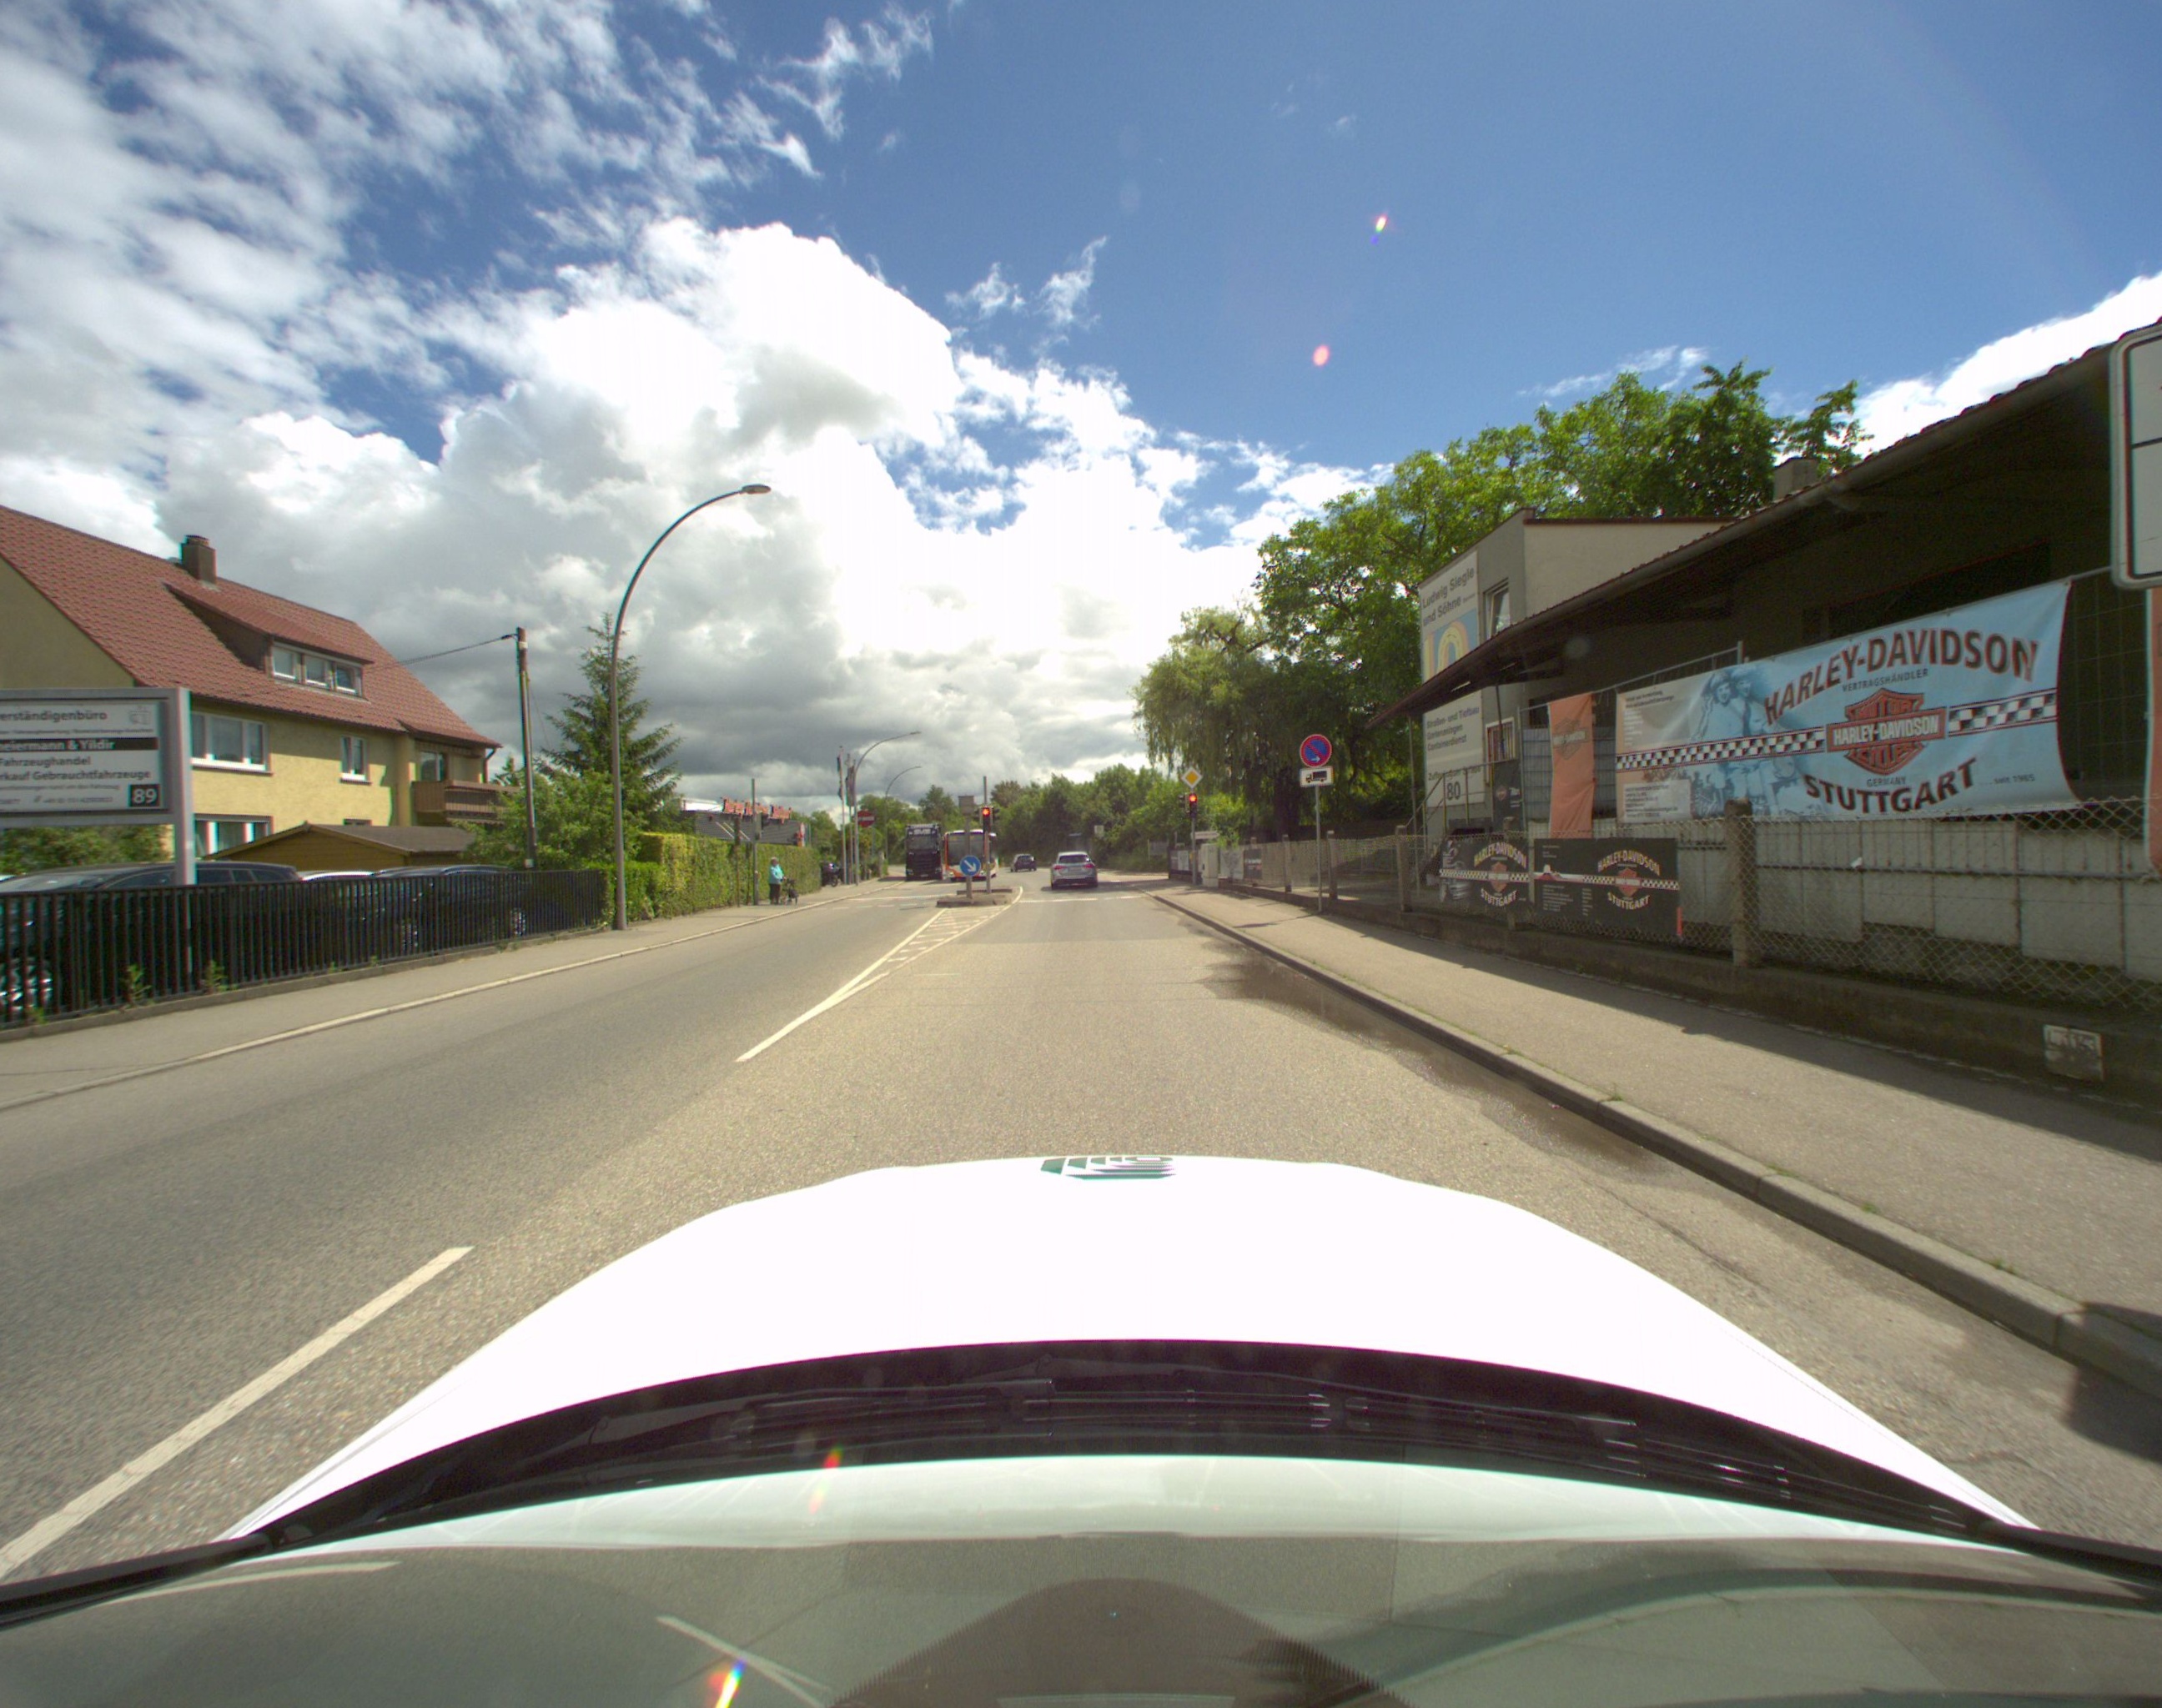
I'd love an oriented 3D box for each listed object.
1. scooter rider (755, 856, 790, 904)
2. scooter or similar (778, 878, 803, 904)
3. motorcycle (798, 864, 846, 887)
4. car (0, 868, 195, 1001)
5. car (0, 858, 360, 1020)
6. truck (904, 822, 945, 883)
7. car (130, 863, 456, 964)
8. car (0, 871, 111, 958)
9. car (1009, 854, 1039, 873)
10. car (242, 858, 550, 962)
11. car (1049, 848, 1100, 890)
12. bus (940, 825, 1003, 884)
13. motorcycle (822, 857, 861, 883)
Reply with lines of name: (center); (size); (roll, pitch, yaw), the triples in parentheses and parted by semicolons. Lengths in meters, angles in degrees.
scooter rider: (-10.378, 0.865, 27.451); (0.876, 1.589, 0.795); (0, 0, -2)
scooter or similar: (-9.797, 1.231, 27.442); (0.610, 0.831, 0.659); (0, 0, -2)
motorcycle: (-14.443, 1.182, 45.328); (2.478, 1.218, 0.931); (-1, -1, 20)
car: (-14.432, 1.068, 10.541); (1.774, 1.618, 3.990); (-3, 0, -7)
car: (-11.930, 0.904, 10.255); (2.028, 1.595, 4.277); (-2, 0, -5)
truck: (-11.401, -0.077, 60.082); (2.427, 4.131, 9.125); (0, -1, -8)
car: (-14.491, 0.990, 15.437); (2.150, 1.507, 4.260); (-2, 0, -5)
car: (-21.629, 1.212, 15.499); (1.774, 1.618, 3.990); (-2, 0, -7)
car: (-4.767, 0.746, 67.661); (1.886, 1.508, 3.984); (-2, 0, -11)
car: (-12.073, 0.881, 14.858); (2.150, 1.507, 4.260); (-2, 0, -5)
car: (-0.320, 0.568, 32.727); (1.880, 1.508, 3.996); (-2, 0, -2)
bus: (-6.878, 0.009, 52.879); (2.771, 3.266, 12.111); (-3, 0, -3)
motorcycle: (-15.846, 1.079, 53.954); (2.283, 1.683, 1.047); (-1, -1, 20)
